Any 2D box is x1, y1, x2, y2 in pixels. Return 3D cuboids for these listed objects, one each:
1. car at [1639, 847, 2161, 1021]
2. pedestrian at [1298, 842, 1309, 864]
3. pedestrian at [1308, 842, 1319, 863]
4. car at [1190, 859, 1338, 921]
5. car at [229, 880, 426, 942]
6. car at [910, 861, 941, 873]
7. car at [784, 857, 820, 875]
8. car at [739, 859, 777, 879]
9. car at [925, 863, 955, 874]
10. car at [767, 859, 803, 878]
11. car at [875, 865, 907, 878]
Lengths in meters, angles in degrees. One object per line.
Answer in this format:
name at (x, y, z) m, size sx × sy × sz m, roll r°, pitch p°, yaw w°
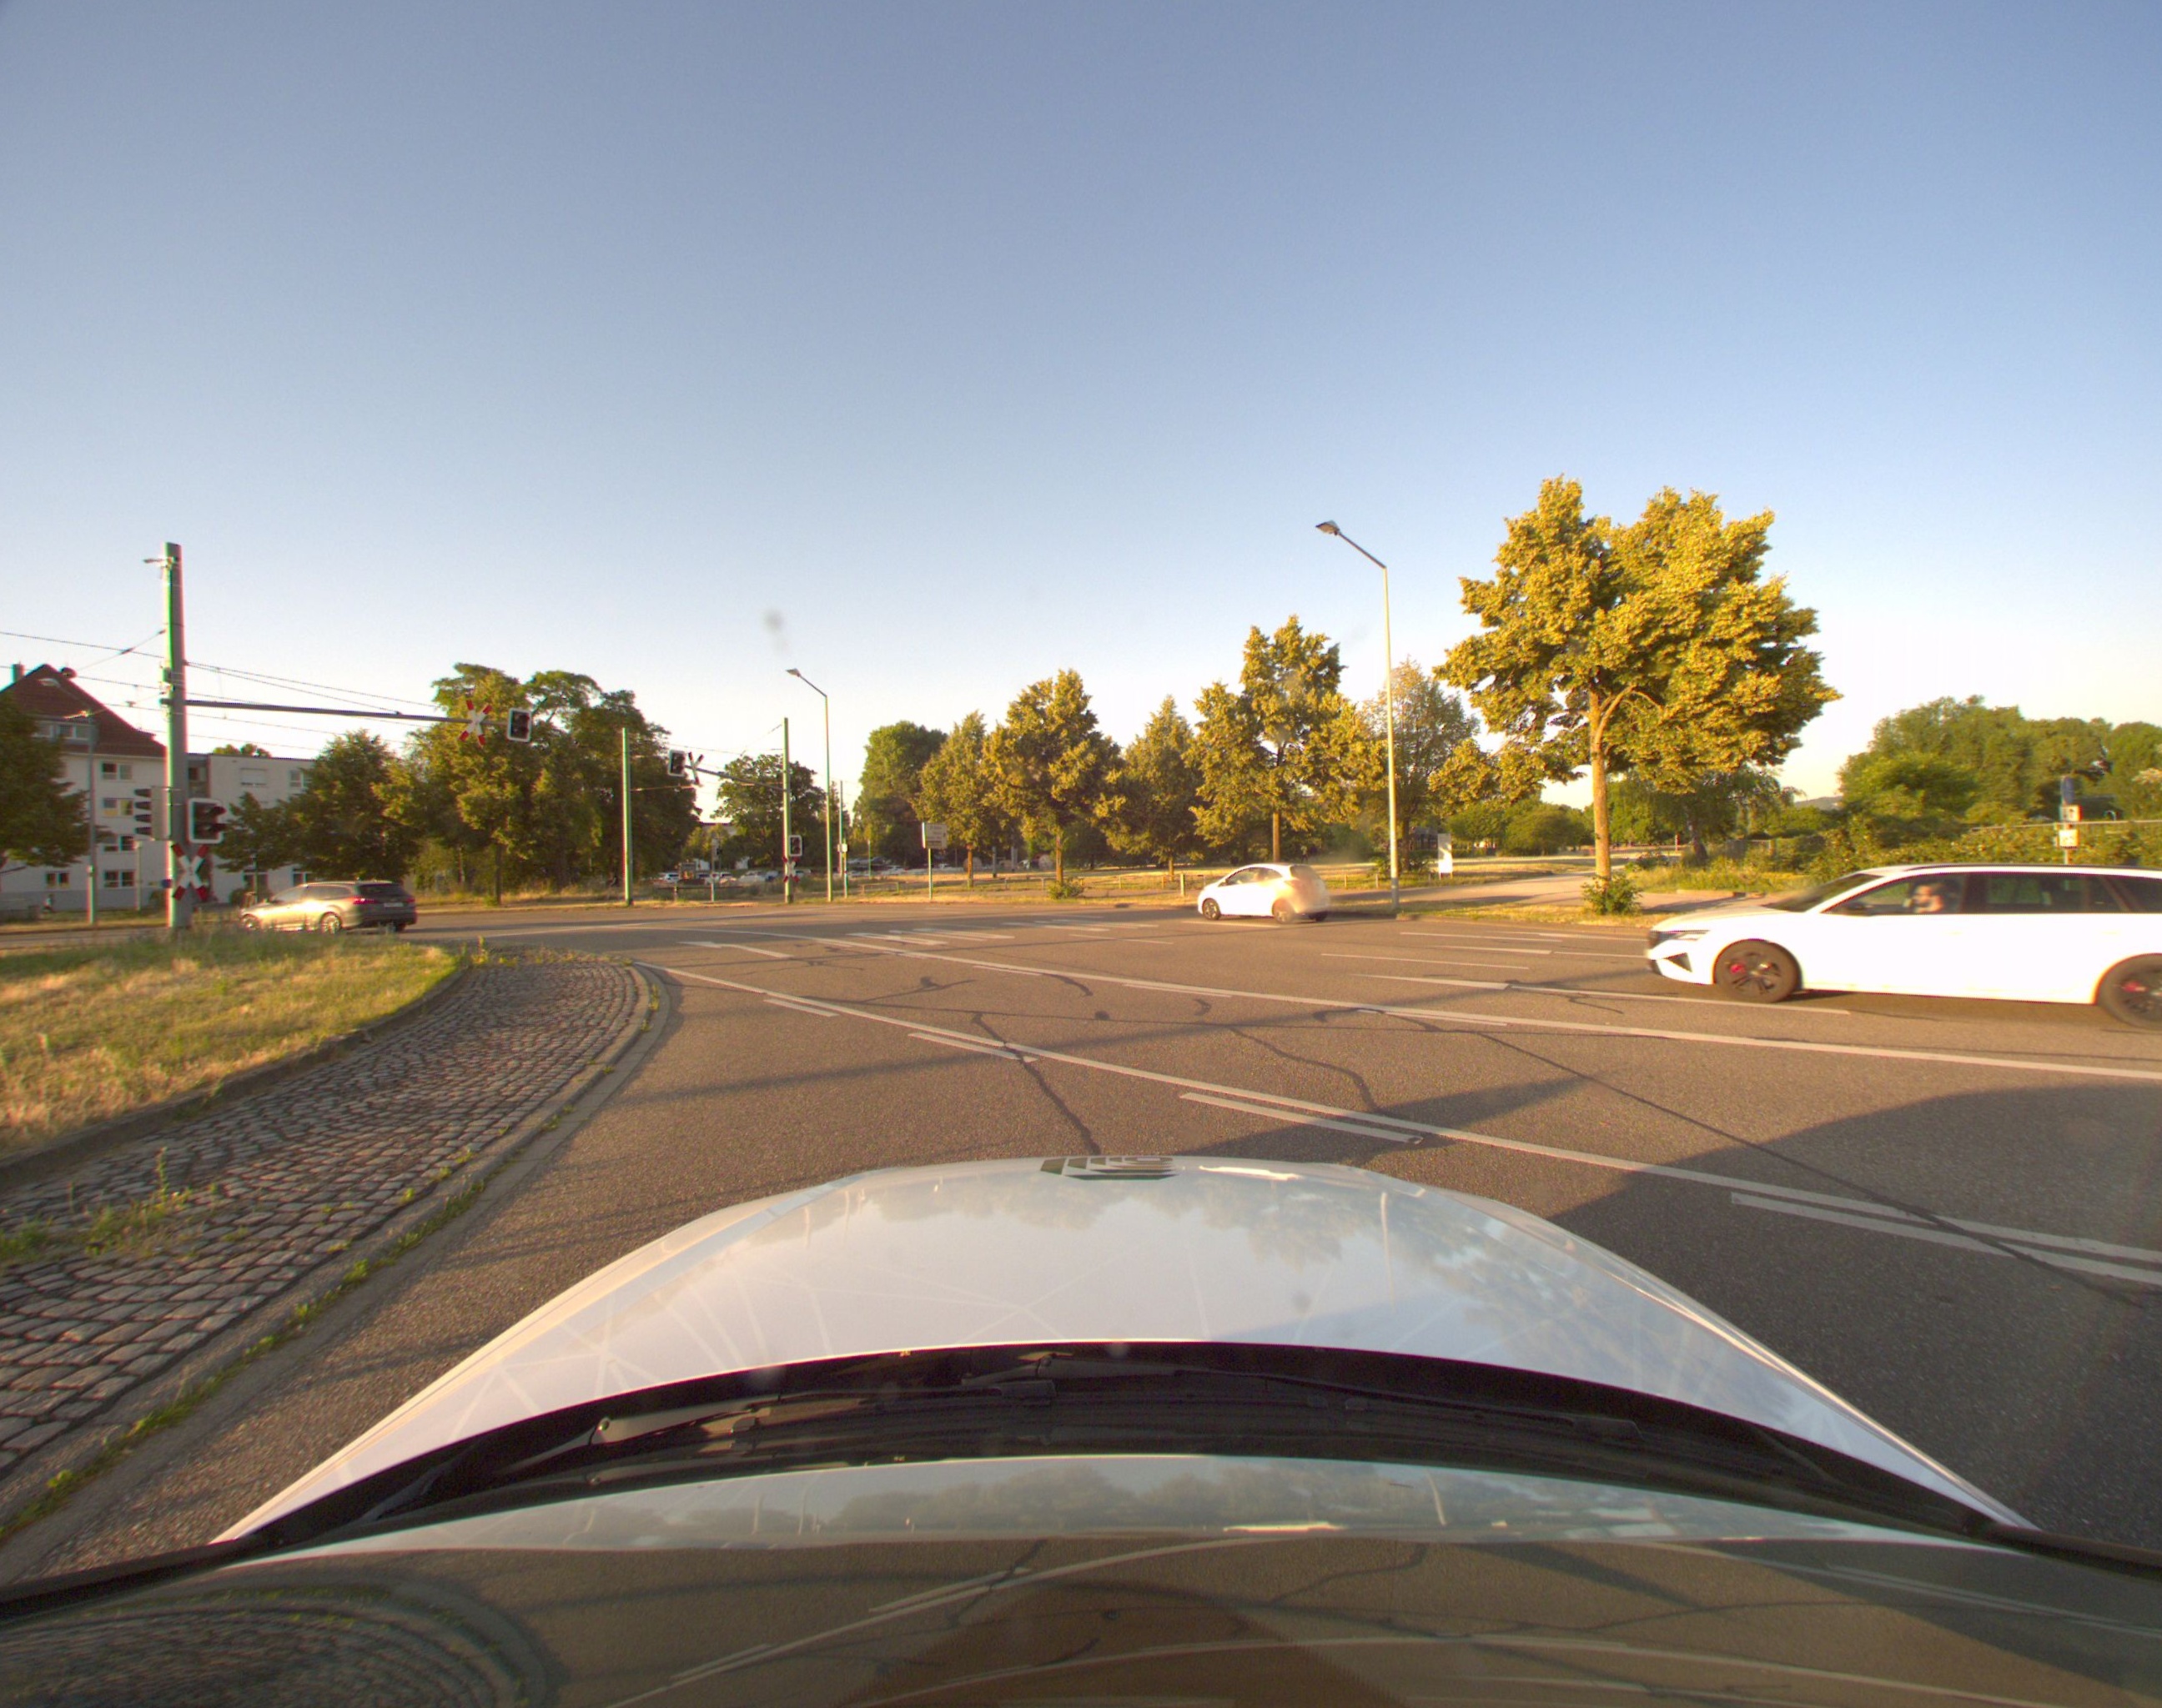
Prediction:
car at (8.558, 0.723, 8.428) m, size 4.490 × 1.448 × 1.739 m, roll -2°, pitch 0°, yaw 32°
pedestrian at (17.063, -0.085, 62.342) m, size 0.582 × 1.626 × 0.528 m, roll -1°, pitch 0°, yaw -30°
pedestrian at (17.802, -0.100, 62.309) m, size 0.622 × 1.626 × 0.525 m, roll -1°, pitch 0°, yaw -28°
car at (4.665, 0.890, 21.073) m, size 1.562 × 1.443 × 3.445 m, roll 0°, pitch -1°, yaw -41°
car at (-20.674, 1.543, 22.418) m, size 4.097 × 1.466 × 1.756 m, roll -2°, pitch 0°, yaw 9°
car at (-21.952, 1.825, 114.913) m, size 3.948 × 1.551 × 2.013 m, roll -2°, pitch 0°, yaw 33°
car at (-33.494, 1.439, 97.781) m, size 3.948 × 2.098 × 2.013 m, roll -2°, pitch 0°, yaw 34°
car at (-36.735, 1.721, 92.545) m, size 3.948 × 2.098 × 2.013 m, roll -2°, pitch 0°, yaw 34°
car at (-20.168, 2.091, 116.362) m, size 3.948 × 1.551 × 2.013 m, roll -2°, pitch 0°, yaw 33°
car at (-34.652, 1.694, 95.276) m, size 3.948 × 2.098 × 2.013 m, roll -2°, pitch 0°, yaw 34°
car at (-25.348, 2.324, 108.724) m, size 3.948 × 1.551 × 2.013 m, roll -2°, pitch 0°, yaw 33°
